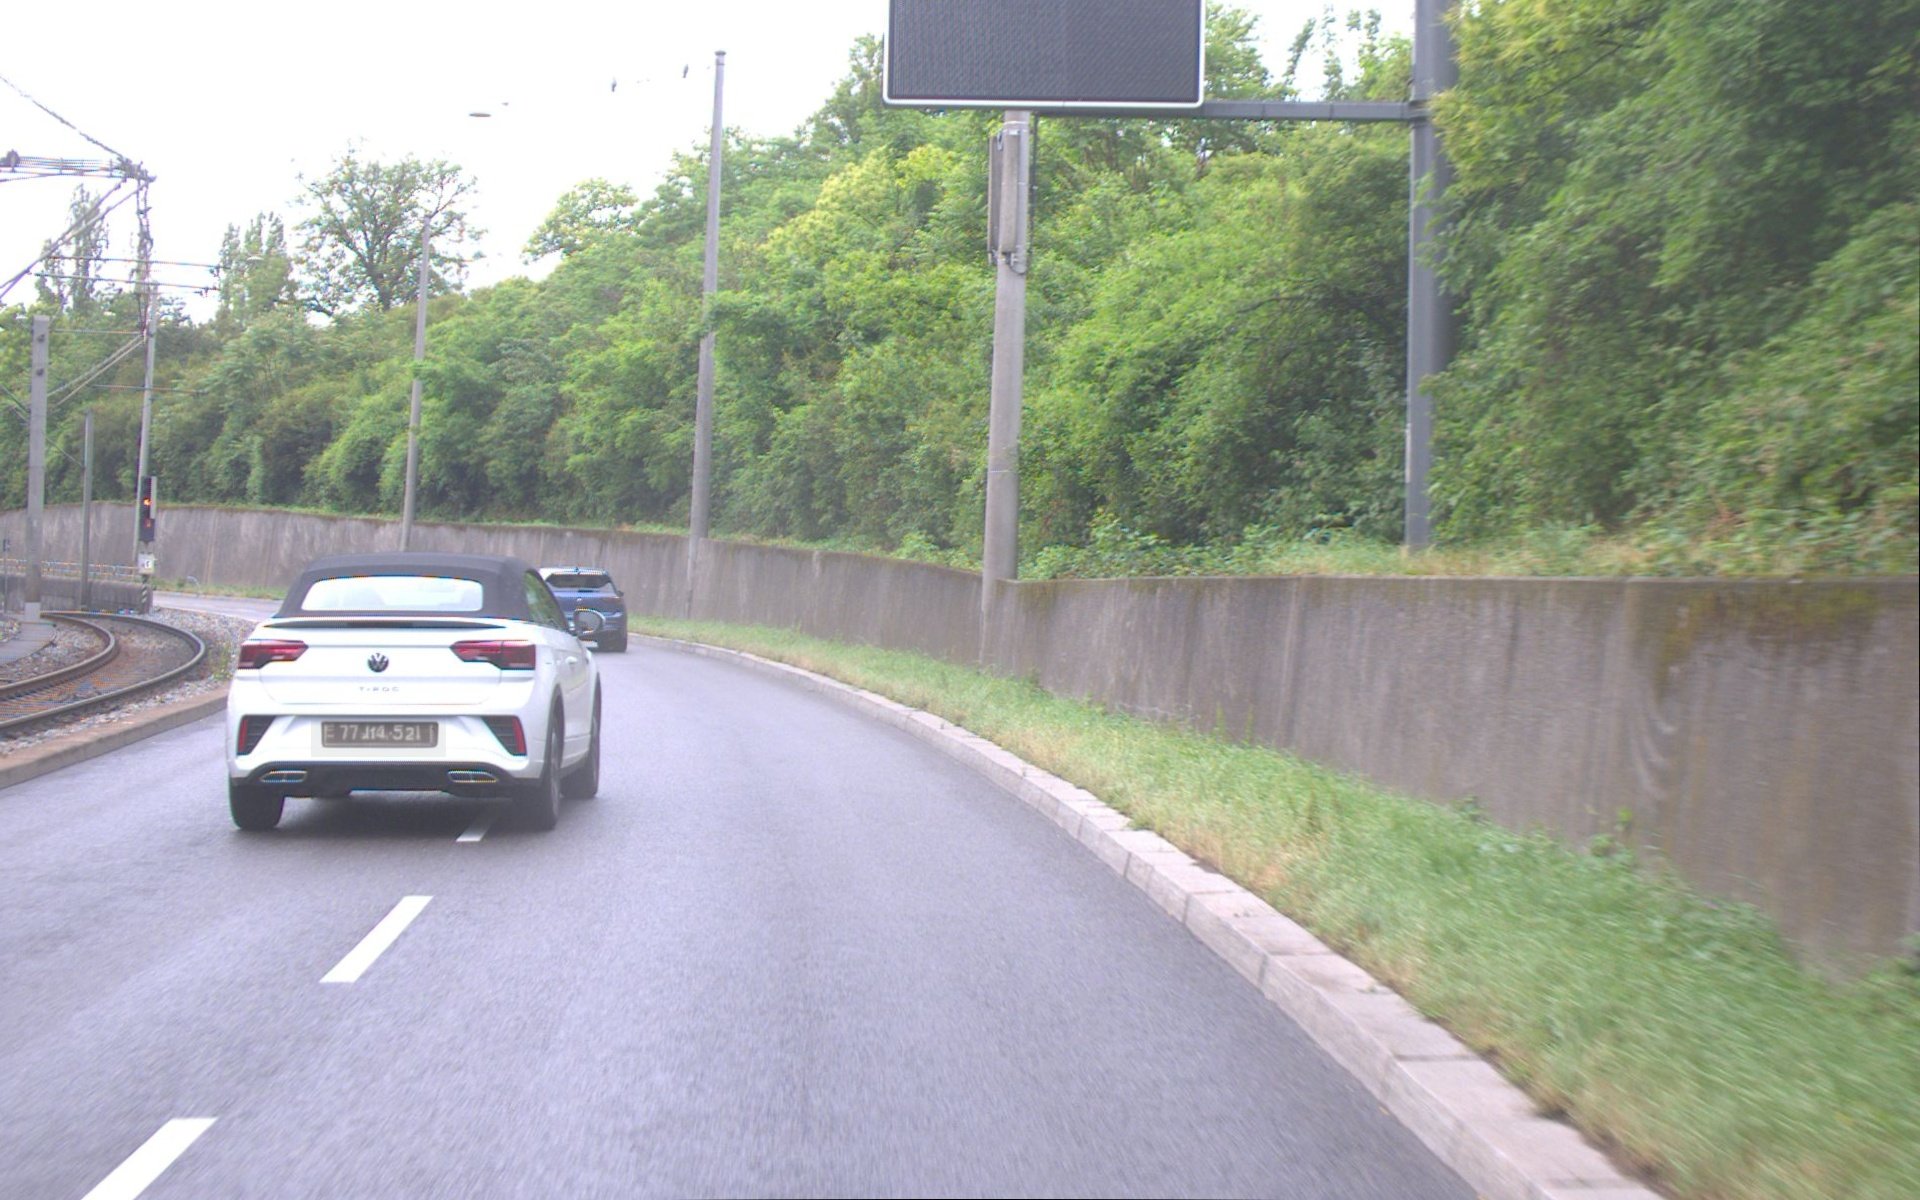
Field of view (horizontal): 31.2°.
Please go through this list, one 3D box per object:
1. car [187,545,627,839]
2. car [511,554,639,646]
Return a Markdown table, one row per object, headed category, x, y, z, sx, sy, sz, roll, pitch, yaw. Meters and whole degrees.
| category | x | y | z | sx | sy | sz | roll | pitch | yaw |
| --- | --- | --- | --- | --- | --- | --- | --- | --- | --- |
| car | -3.115 | 0.444 | 20.268 | 1.871 | 1.519 | 4.540 | 1 | 1 | 0 |
| car | -6.766 | -0.024 | 60.189 | 1.763 | 1.496 | 4.001 | 2 | 0 | -13 |
